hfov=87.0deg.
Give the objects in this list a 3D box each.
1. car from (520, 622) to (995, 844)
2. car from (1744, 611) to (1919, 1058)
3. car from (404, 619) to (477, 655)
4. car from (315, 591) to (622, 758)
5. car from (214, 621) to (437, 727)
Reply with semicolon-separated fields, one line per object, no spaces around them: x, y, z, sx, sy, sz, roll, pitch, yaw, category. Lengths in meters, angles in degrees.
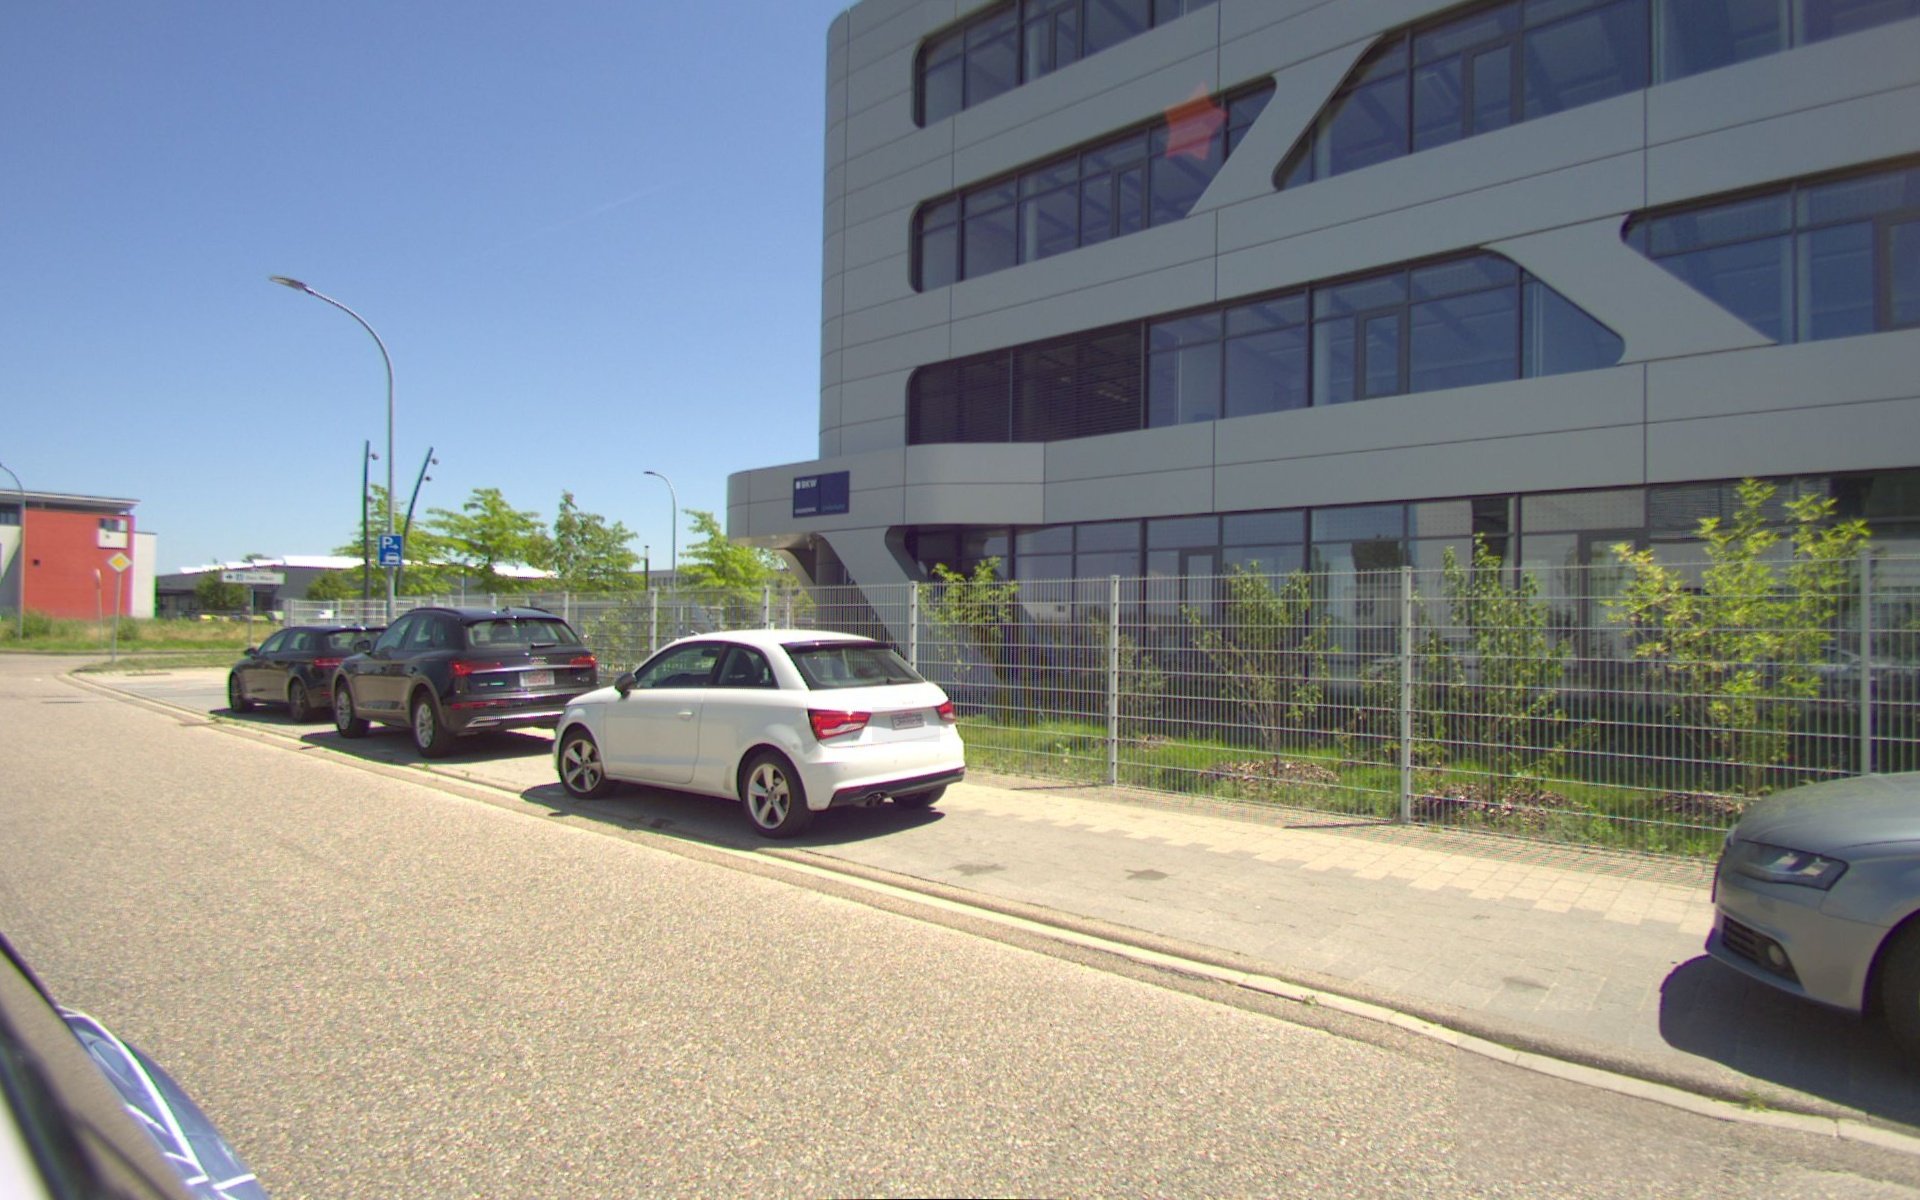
-1.783;0.888;8.267;3.932;1.396;1.683;-1;-2;39;car
4.968;0.710;2.533;4.637;1.396;1.666;-2;-2;42;car
-26.376;1.852;51.301;4.308;1.710;1.931;0;-1;43;car
-6.179;0.808;12.410;4.850;1.664;1.750;-2;-2;43;car
-10.201;1.091;16.164;4.181;1.477;1.752;-1;-2;39;car
